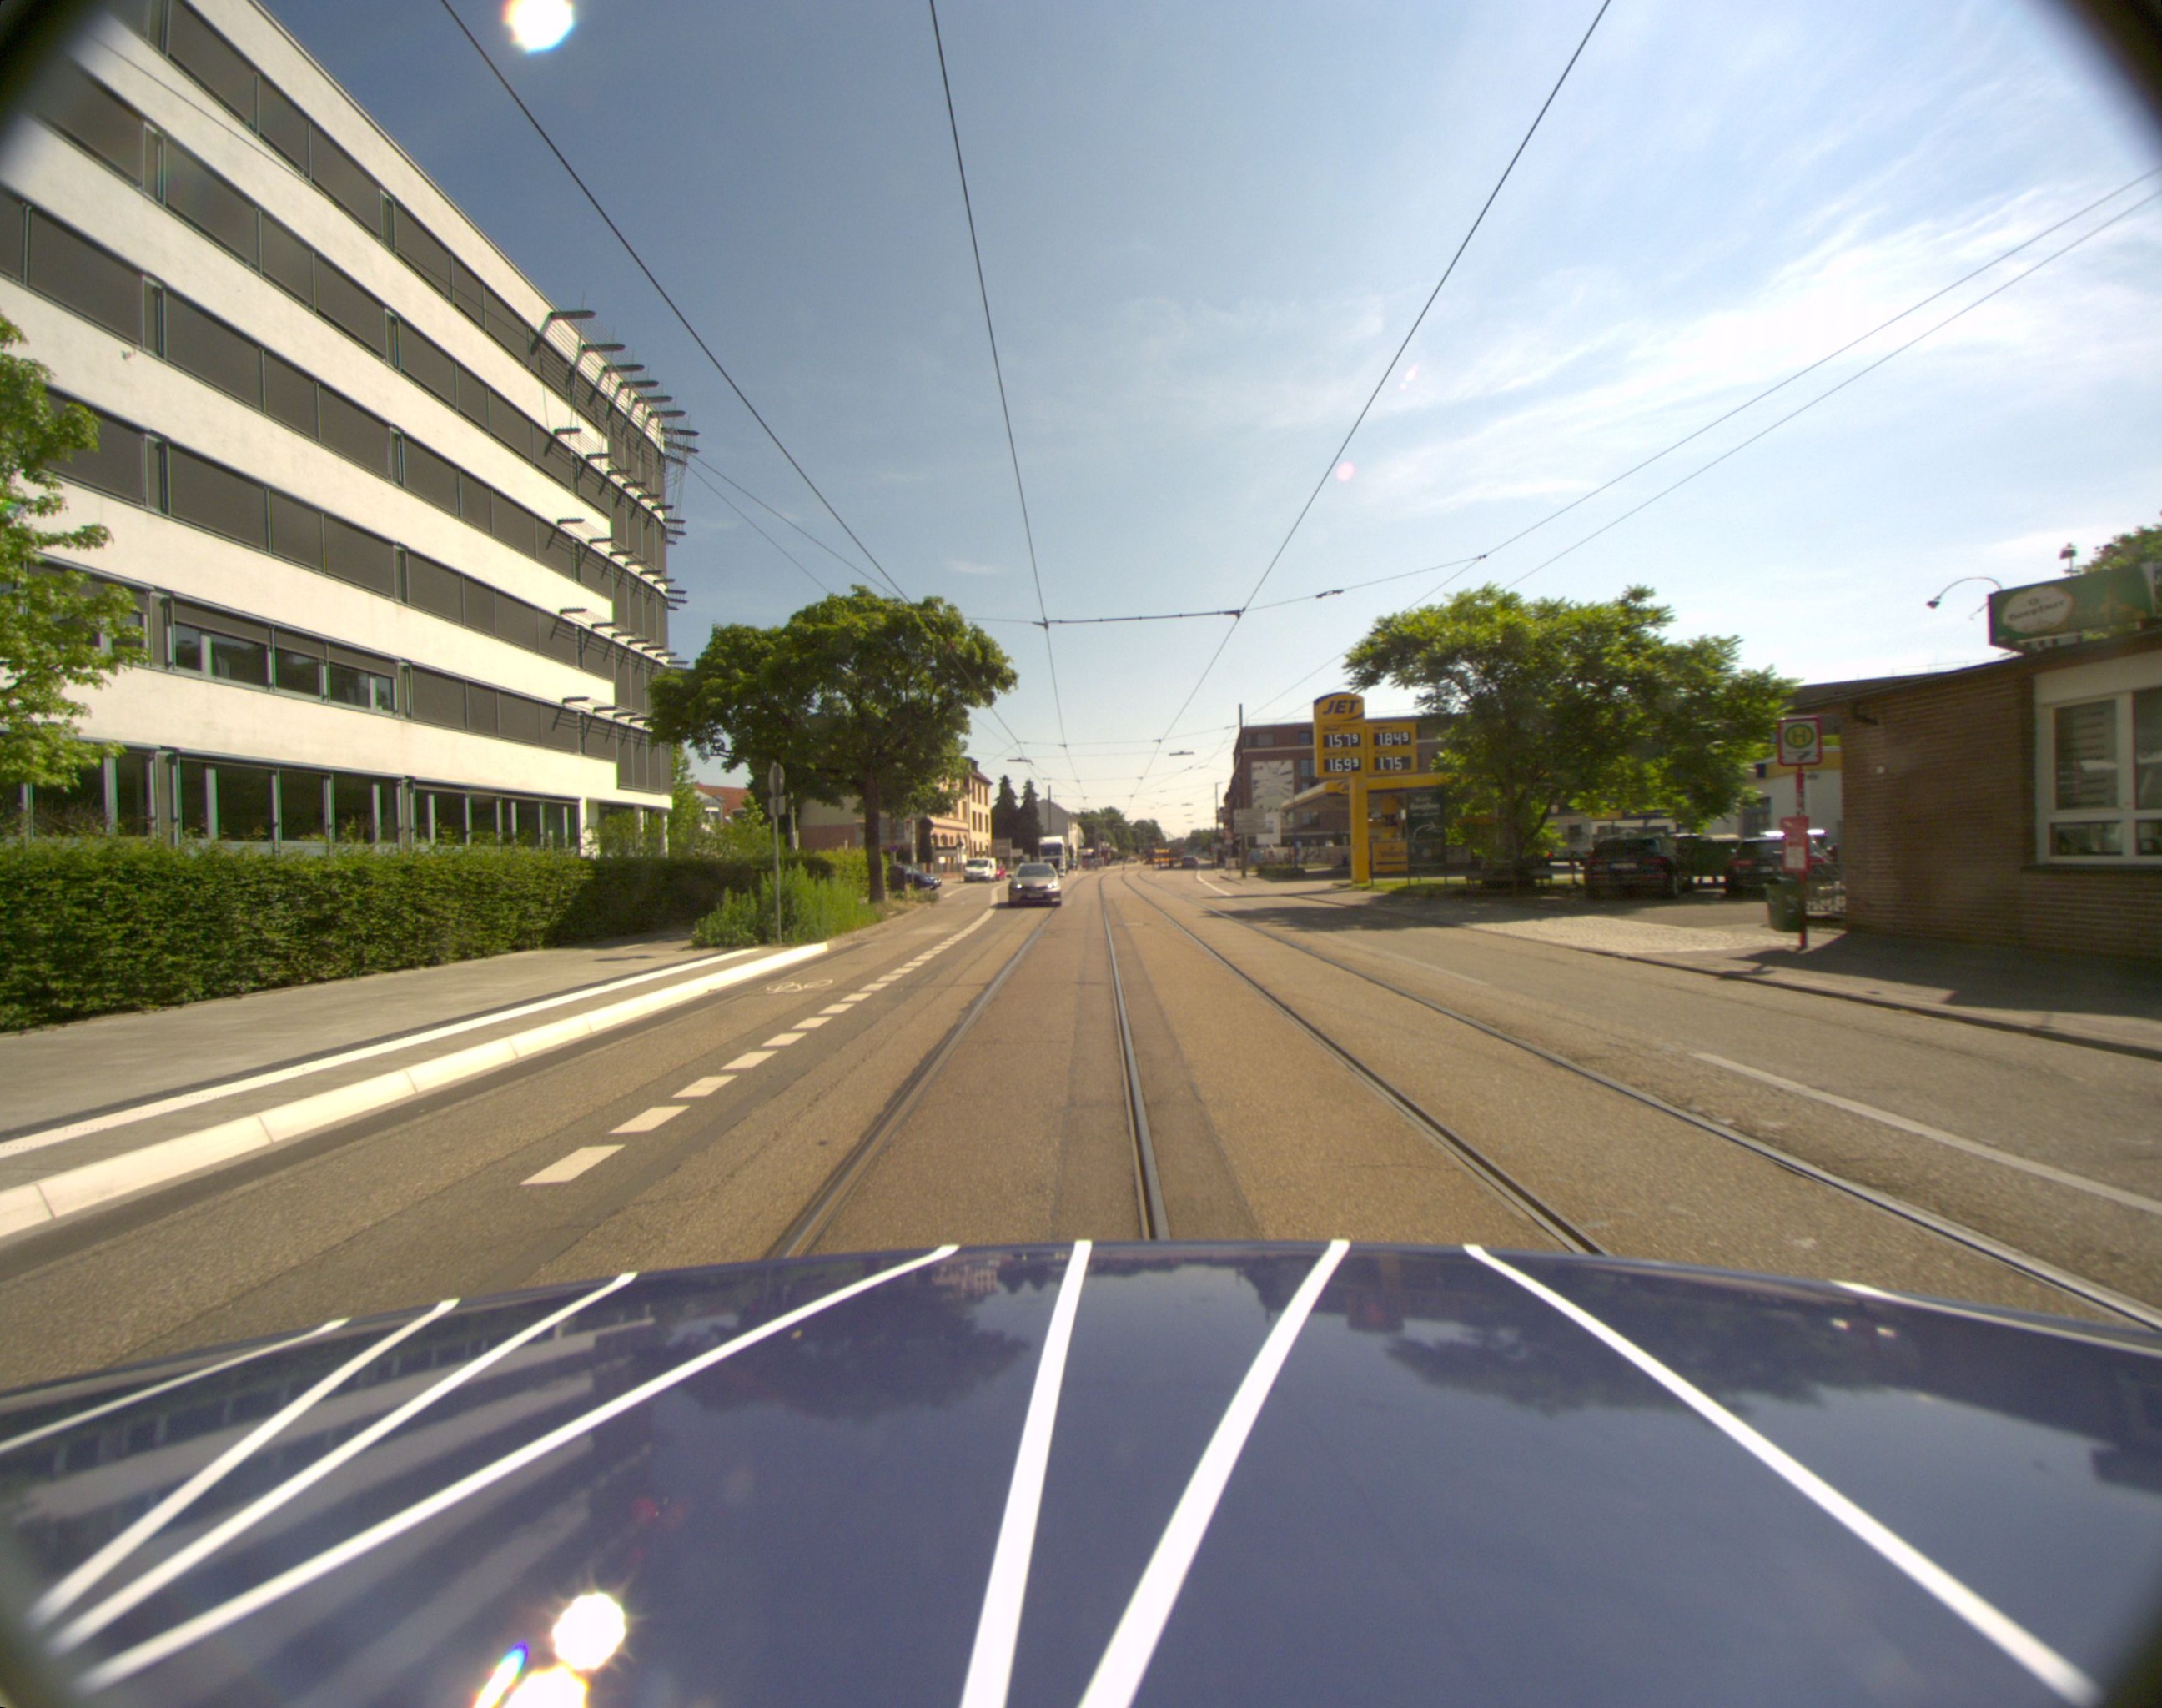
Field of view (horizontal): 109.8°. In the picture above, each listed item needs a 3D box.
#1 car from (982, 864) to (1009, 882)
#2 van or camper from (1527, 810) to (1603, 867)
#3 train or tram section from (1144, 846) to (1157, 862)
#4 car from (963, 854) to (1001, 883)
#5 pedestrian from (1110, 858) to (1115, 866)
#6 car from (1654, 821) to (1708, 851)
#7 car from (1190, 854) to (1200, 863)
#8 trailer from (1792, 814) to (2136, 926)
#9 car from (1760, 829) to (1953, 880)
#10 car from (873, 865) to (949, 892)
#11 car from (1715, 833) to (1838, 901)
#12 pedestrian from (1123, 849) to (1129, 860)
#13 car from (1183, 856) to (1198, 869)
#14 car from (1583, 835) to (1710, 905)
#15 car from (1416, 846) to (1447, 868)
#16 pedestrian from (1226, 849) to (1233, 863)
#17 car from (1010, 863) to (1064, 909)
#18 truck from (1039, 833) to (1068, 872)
[{"bbox_3d":[-7.241,1.560,64.835,1.726,1.434,4.313,0,0,2],"label":"car"},{"bbox_3d":[28.722,-0.940,45.334,2.611,2.950,6.722,-5,0,24],"label":"van or camper"},{"bbox_3d":[15.972,0.086,174.512,2.685,3.460,13.344,-2,0,5],"label":"train or tram section"},{"bbox_3d":[-7.548,1.067,58.362,1.981,2.043,5.192,0,0,3],"label":"car"},{"bbox_3d":[5.139,1.300,123.992,0.630,1.247,0.710,-1,0,8],"label":"pedestrian"},{"bbox_3d":[39.564,-1.231,50.204,1.775,1.752,4.480,-4,1,25],"label":"car"},{"bbox_3d":[22.294,0.917,148.419,1.715,1.612,3.581,-3,-1,9],"label":"car"},{"bbox_3d":[13.657,0.244,11.937,3.223,1.517,1.778,-2,0,2],"label":"trailer"},{"bbox_3d":[26.008,0.016,25.706,4.161,1.518,1.940,-2,1,27],"label":"car"},{"bbox_3d":[-9.407,1.349,42.200,3.754,1.380,1.671,-2,0,2],"label":"car"},{"bbox_3d":[17.084,0.263,18.581,4.587,1.459,1.944,-2,0,-44],"label":"car"},{"bbox_3d":[8.436,0.092,141.280,0.982,1.847,1.238,-1,0,9],"label":"pedestrian"},{"bbox_3d":[13.934,1.017,97.149,1.749,1.562,3.893,-1,1,7],"label":"car"},{"bbox_3d":[14.970,0.366,20.021,4.587,1.615,1.944,-2,0,-44],"label":"car"},{"bbox_3d":[23.551,0.203,50.991,1.698,1.295,4.397,-4,0,26],"label":"car"},{"bbox_3d":[19.645,0.301,100.713,0.846,1.808,0.839,-2,0,9],"label":"pedestrian"},{"bbox_3d":[-1.464,1.048,26.537,1.695,1.440,4.480,0,0,-1],"label":"car"},{"bbox_3d":[-2.743,-0.134,78.300,2.657,3.772,7.863,-1,0,0],"label":"truck"}]
